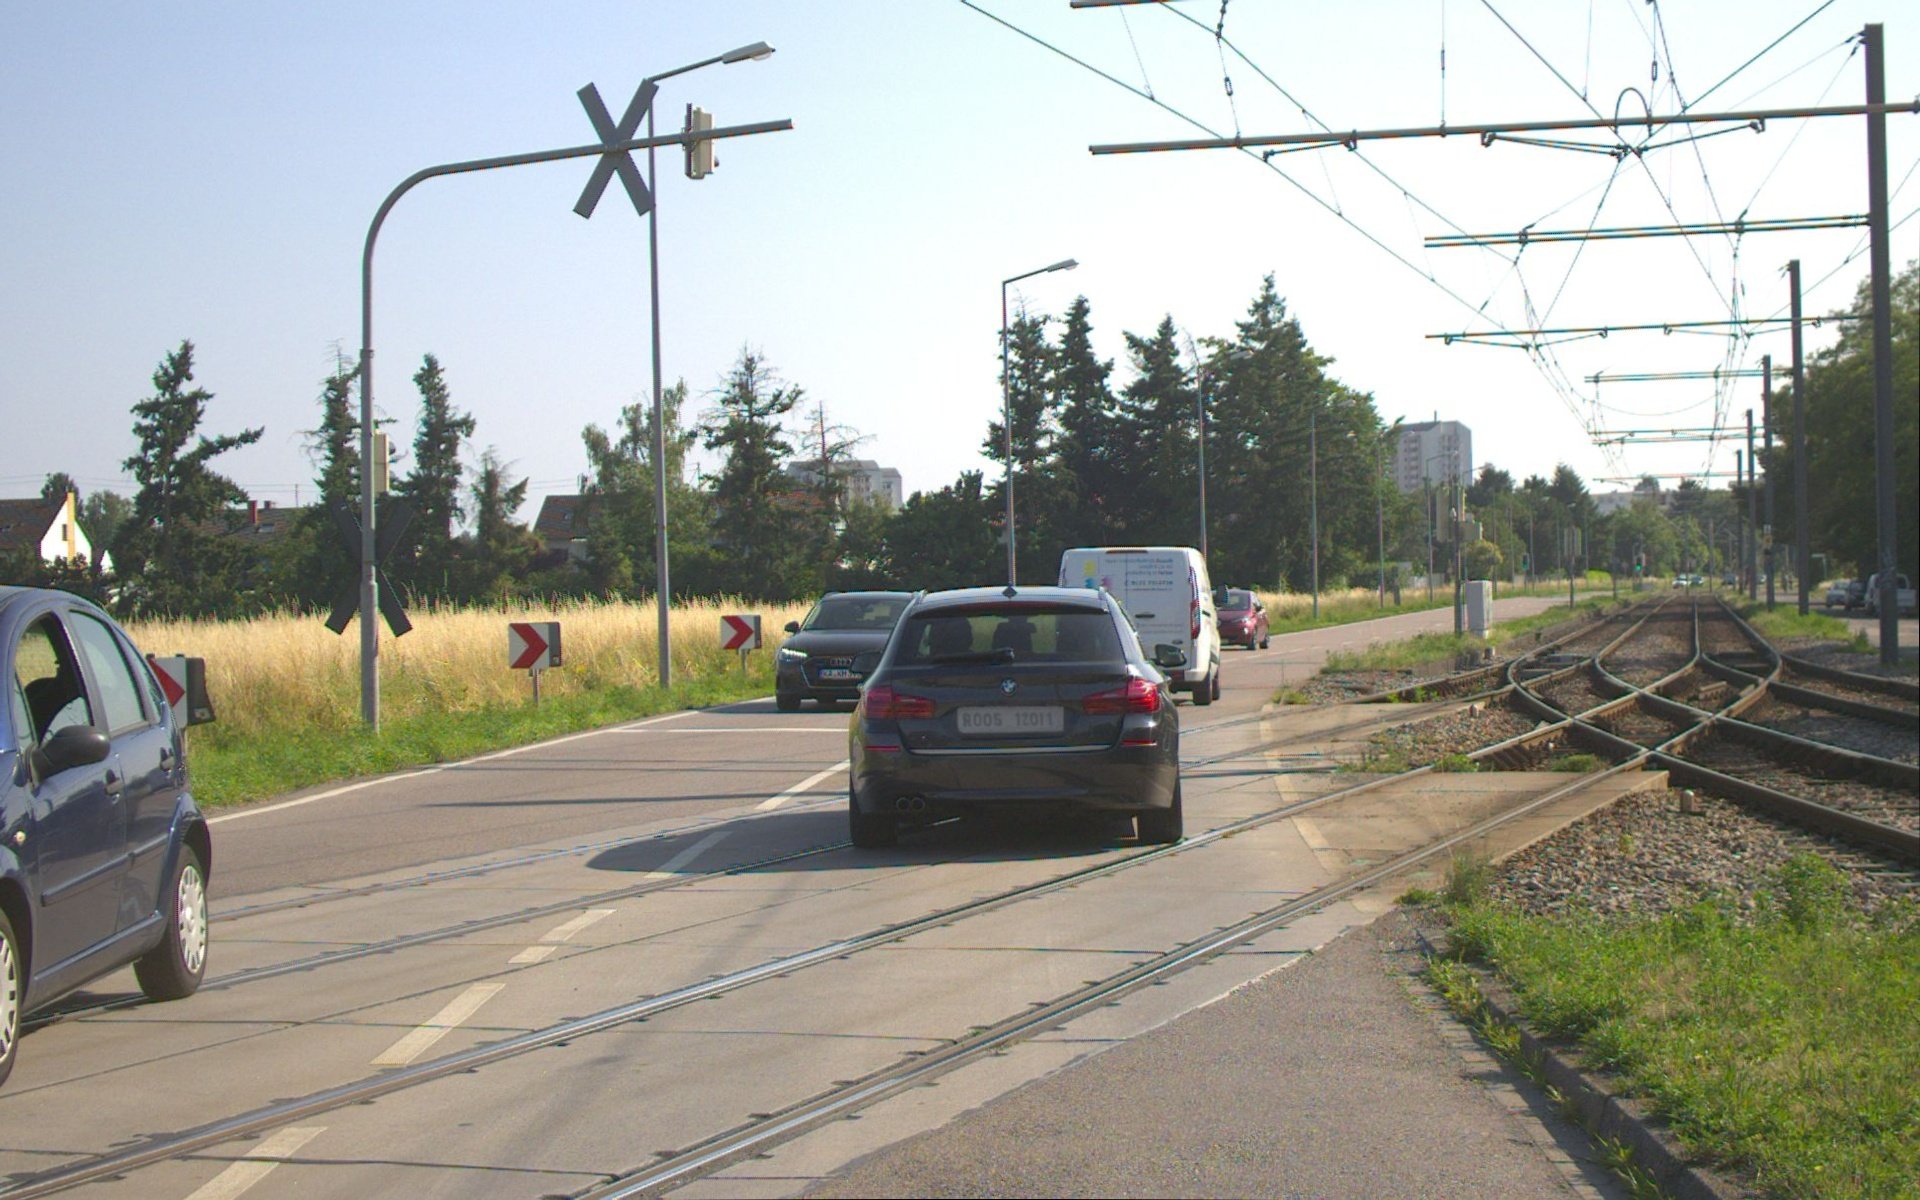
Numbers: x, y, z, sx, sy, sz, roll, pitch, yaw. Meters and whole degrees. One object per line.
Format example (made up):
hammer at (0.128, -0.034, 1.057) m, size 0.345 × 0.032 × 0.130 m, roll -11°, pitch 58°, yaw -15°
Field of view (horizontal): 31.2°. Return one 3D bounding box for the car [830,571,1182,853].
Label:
car at (0.331, 0.573, 20.616) m, size 1.869 × 1.447 × 4.743 m, roll 0°, pitch 1°, yaw 2°

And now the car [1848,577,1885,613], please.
car at (44.710, -0.241, 169.522) m, size 1.736 × 1.674 × 3.541 m, roll 1°, pitch -1°, yaw 15°

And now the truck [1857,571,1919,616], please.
truck at (38.398, -0.291, 142.136) m, size 2.205 × 1.813 × 5.926 m, roll 0°, pitch 0°, yaw 12°

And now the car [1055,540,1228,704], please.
car at (2.397, 0.236, 44.284) m, size 1.858 × 1.981 × 5.107 m, roll 0°, pitch 1°, yaw 7°

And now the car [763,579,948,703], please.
car at (-1.249, 0.473, 42.920) m, size 1.693 × 1.435 × 4.282 m, roll 0°, pitch 1°, yaw 7°

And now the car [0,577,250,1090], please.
car at (-3.597, 0.695, 11.308) m, size 1.623 × 1.489 × 4.000 m, roll -1°, pitch 0°, yaw 1°

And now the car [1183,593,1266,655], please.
car at (6.884, 0.601, 89.185) m, size 1.713 × 1.544 × 3.926 m, roll 0°, pitch 1°, yaw 11°
